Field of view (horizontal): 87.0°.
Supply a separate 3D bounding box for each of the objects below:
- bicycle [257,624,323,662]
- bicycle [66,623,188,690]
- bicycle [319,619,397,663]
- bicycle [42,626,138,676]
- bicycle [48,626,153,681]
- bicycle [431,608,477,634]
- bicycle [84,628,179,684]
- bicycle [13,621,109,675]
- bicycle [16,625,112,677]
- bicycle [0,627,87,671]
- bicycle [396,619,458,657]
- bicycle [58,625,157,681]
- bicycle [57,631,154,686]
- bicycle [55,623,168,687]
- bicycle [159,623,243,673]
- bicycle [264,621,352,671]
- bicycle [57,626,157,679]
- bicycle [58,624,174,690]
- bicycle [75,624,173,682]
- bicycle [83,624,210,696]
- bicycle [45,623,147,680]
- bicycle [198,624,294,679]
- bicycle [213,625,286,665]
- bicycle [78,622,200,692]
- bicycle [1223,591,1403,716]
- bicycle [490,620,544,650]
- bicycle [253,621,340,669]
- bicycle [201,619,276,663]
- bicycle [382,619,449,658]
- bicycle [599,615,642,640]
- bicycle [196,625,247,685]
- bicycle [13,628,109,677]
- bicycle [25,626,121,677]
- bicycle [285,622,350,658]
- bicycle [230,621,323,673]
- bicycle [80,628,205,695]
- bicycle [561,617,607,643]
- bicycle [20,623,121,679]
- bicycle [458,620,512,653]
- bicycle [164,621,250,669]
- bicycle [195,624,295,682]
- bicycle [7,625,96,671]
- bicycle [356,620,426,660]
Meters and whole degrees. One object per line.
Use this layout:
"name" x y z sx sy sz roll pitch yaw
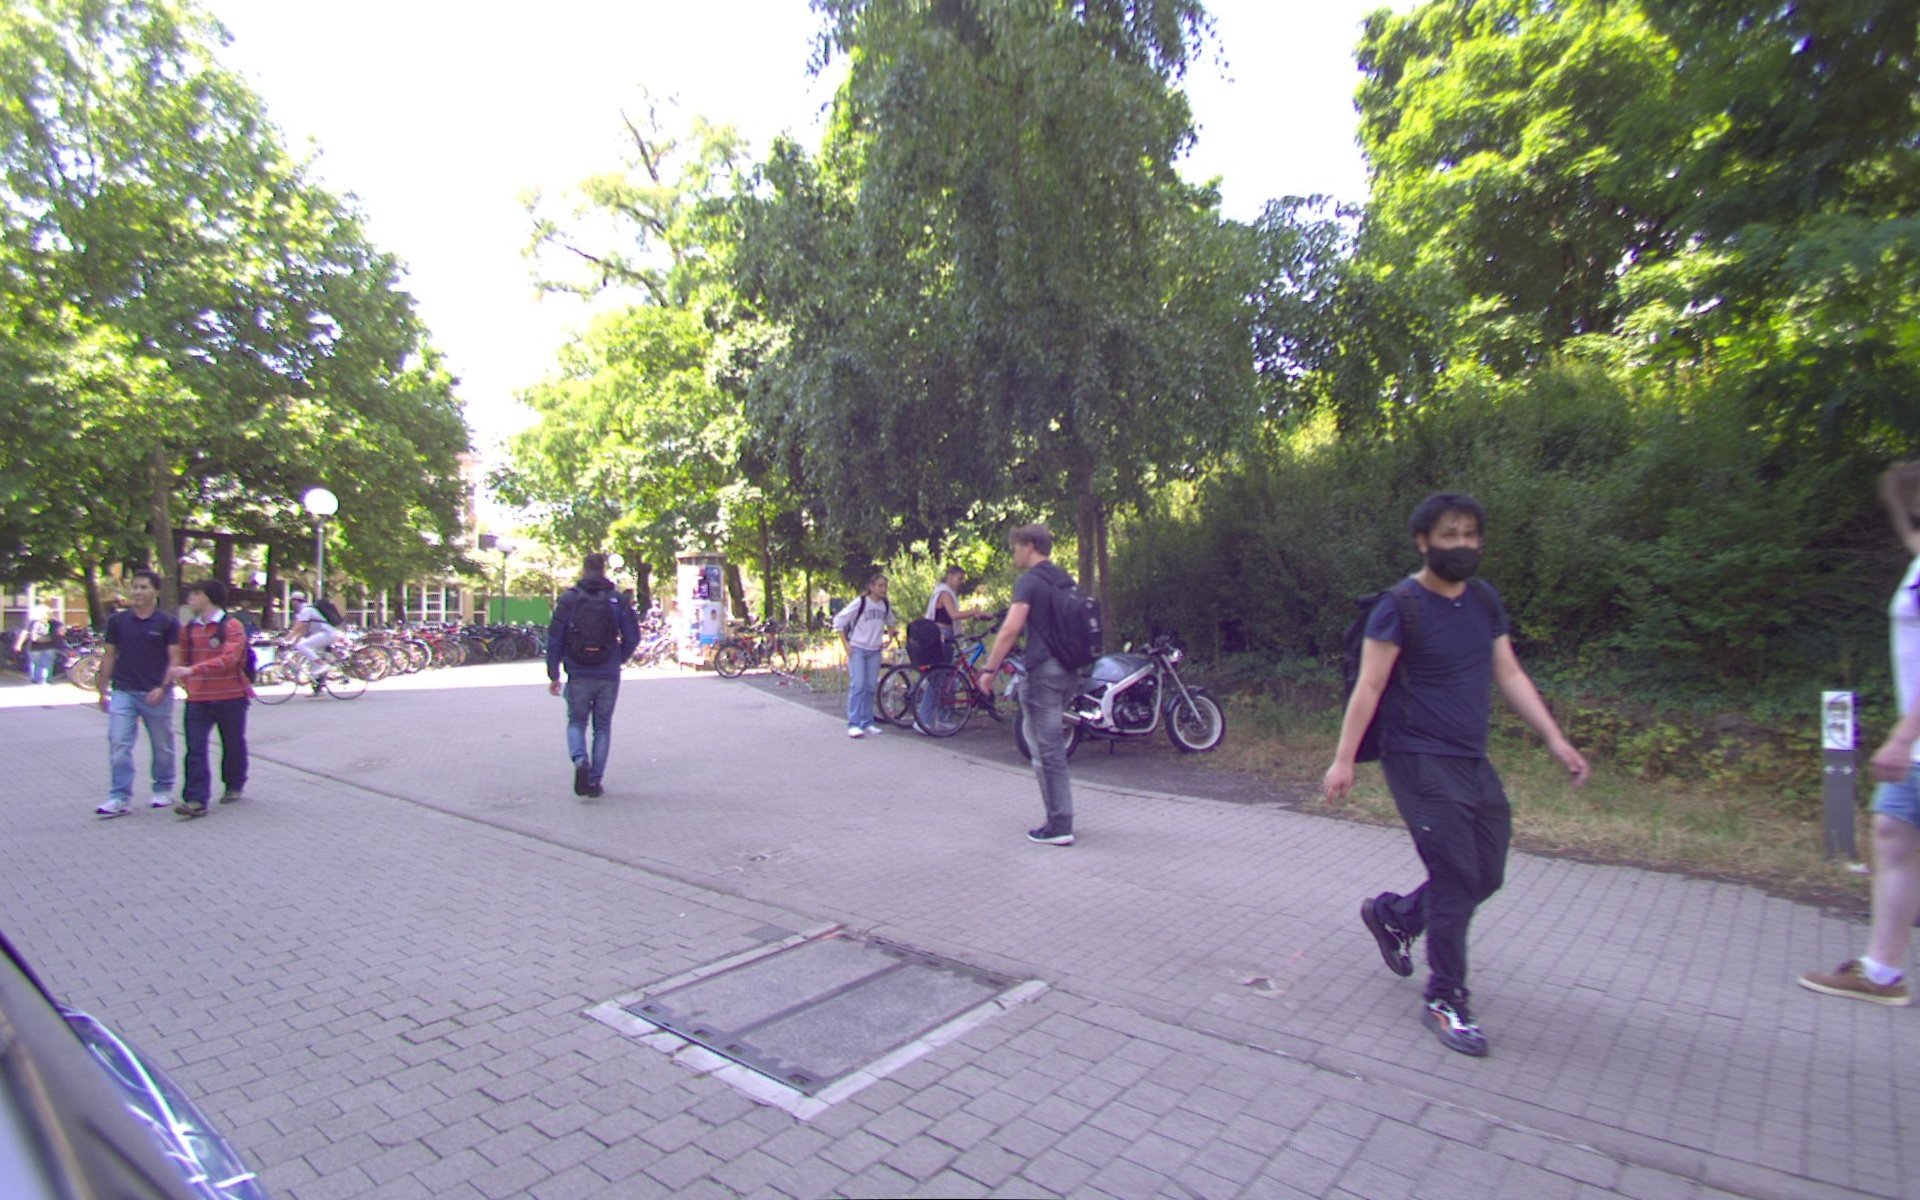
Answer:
"bicycle" -21.188 1.356 32.043 1.672 1.116 0.504 -1 0 -9
"bicycle" -15.911 1.053 19.380 1.752 1.177 0.475 -1 0 -37
"bicycle" -15.780 1.071 26.551 1.671 1.092 0.475 -1 0 -14
"bicycle" -20.885 1.208 24.338 0.472 1.116 1.683 -1 0 29
"bicycle" -19.111 1.169 22.551 0.580 1.116 1.683 -1 0 29
"bicycle" -25.323 1.033 50.659 1.857 1.180 0.806 -3 0 -40
"bicycle" -17.246 1.146 21.122 0.468 1.070 1.697 -1 0 5
"bicycle" -22.457 1.185 25.319 0.495 1.245 1.721 -1 0 33
"bicycle" -21.751 1.214 24.599 0.472 1.154 1.683 -1 0 28
"bicycle" -24.959 1.314 27.584 0.497 1.116 1.717 -1 0 40
"bicycle" -16.387 1.164 31.128 1.677 1.092 0.474 -1 0 3
"bicycle" -18.559 1.138 22.072 0.469 1.116 1.692 -1 0 13
"bicycle" -17.750 1.194 21.071 0.468 1.026 1.697 -1 0 5
"bicycle" -16.877 1.069 20.176 0.471 1.177 1.686 -1 0 23
"bicycle" -19.946 1.248 26.627 0.500 1.229 1.683 -1 0 29
"bicycle" -15.370 1.078 23.879 1.670 1.092 0.475 -1 0 -18
"bicycle" -19.750 1.191 23.468 0.563 1.116 1.683 -1 0 29
"bicycle" -16.484 1.091 19.801 0.472 1.177 1.684 -1 0 27
"bicycle" -18.110 1.129 21.965 0.469 1.166 1.692 -1 0 13
"bicycle" -14.395 1.039 17.949 0.472 1.168 1.681 -1 0 31
"bicycle" -19.517 1.146 22.889 0.472 1.196 1.683 -1 0 29
"bicycle" -15.426 1.088 21.895 1.672 1.092 0.475 -1 0 -36
"bicycle" -20.978 1.311 29.902 1.671 1.116 0.504 -1 0 -13
"bicycle" -15.251 1.035 18.841 0.473 1.177 1.680 -1 0 34
"bicycle" 3.265 0.456 9.523 0.466 1.055 1.705 -3 2 -28
"bicycle" -16.710 1.319 38.183 1.834 1.092 0.474 -1 0 3
"bicycle" -15.867 1.068 24.240 1.670 1.092 0.475 -1 0 -18
"bicycle" -20.869 1.178 29.290 1.671 1.209 0.577 -1 0 -13
"bicycle" -16.074 1.138 29.907 1.674 1.092 0.474 -1 0 -5
"bicycle" -15.592 1.281 46.481 1.834 1.092 0.474 -1 0 3
"bicycle" -14.400 1.052 19.720 1.700 1.092 0.501 -1 0 44
"bicycle" -22.136 1.278 24.955 0.495 1.116 1.682 -1 0 30
"bicycle" -21.339 1.224 24.377 0.472 1.116 1.683 -1 0 28
"bicycle" -21.137 1.320 33.296 1.672 1.116 0.633 -1 0 -9
"bicycle" -15.443 1.058 22.904 1.671 1.092 0.475 -1 0 -14
"bicycle" -14.734 1.079 18.273 0.473 1.099 1.680 -1 0 34
"bicycle" -16.289 1.302 43.876 1.834 1.092 0.474 -1 0 3
"bicycle" -20.718 1.166 23.609 0.535 1.207 1.681 -1 0 32
"bicycle" -16.762 1.286 35.713 1.677 1.092 0.474 -1 0 3
"bicycle" -19.214 1.131 25.858 0.500 1.116 1.683 -1 0 29
"bicycle" -14.799 1.081 20.976 1.672 1.092 0.475 -1 0 -37
"bicycle" -24.434 1.282 27.246 0.496 1.135 1.720 -1 0 36
"bicycle" -16.109 1.130 28.670 1.674 1.092 0.474 -1 0 -5
